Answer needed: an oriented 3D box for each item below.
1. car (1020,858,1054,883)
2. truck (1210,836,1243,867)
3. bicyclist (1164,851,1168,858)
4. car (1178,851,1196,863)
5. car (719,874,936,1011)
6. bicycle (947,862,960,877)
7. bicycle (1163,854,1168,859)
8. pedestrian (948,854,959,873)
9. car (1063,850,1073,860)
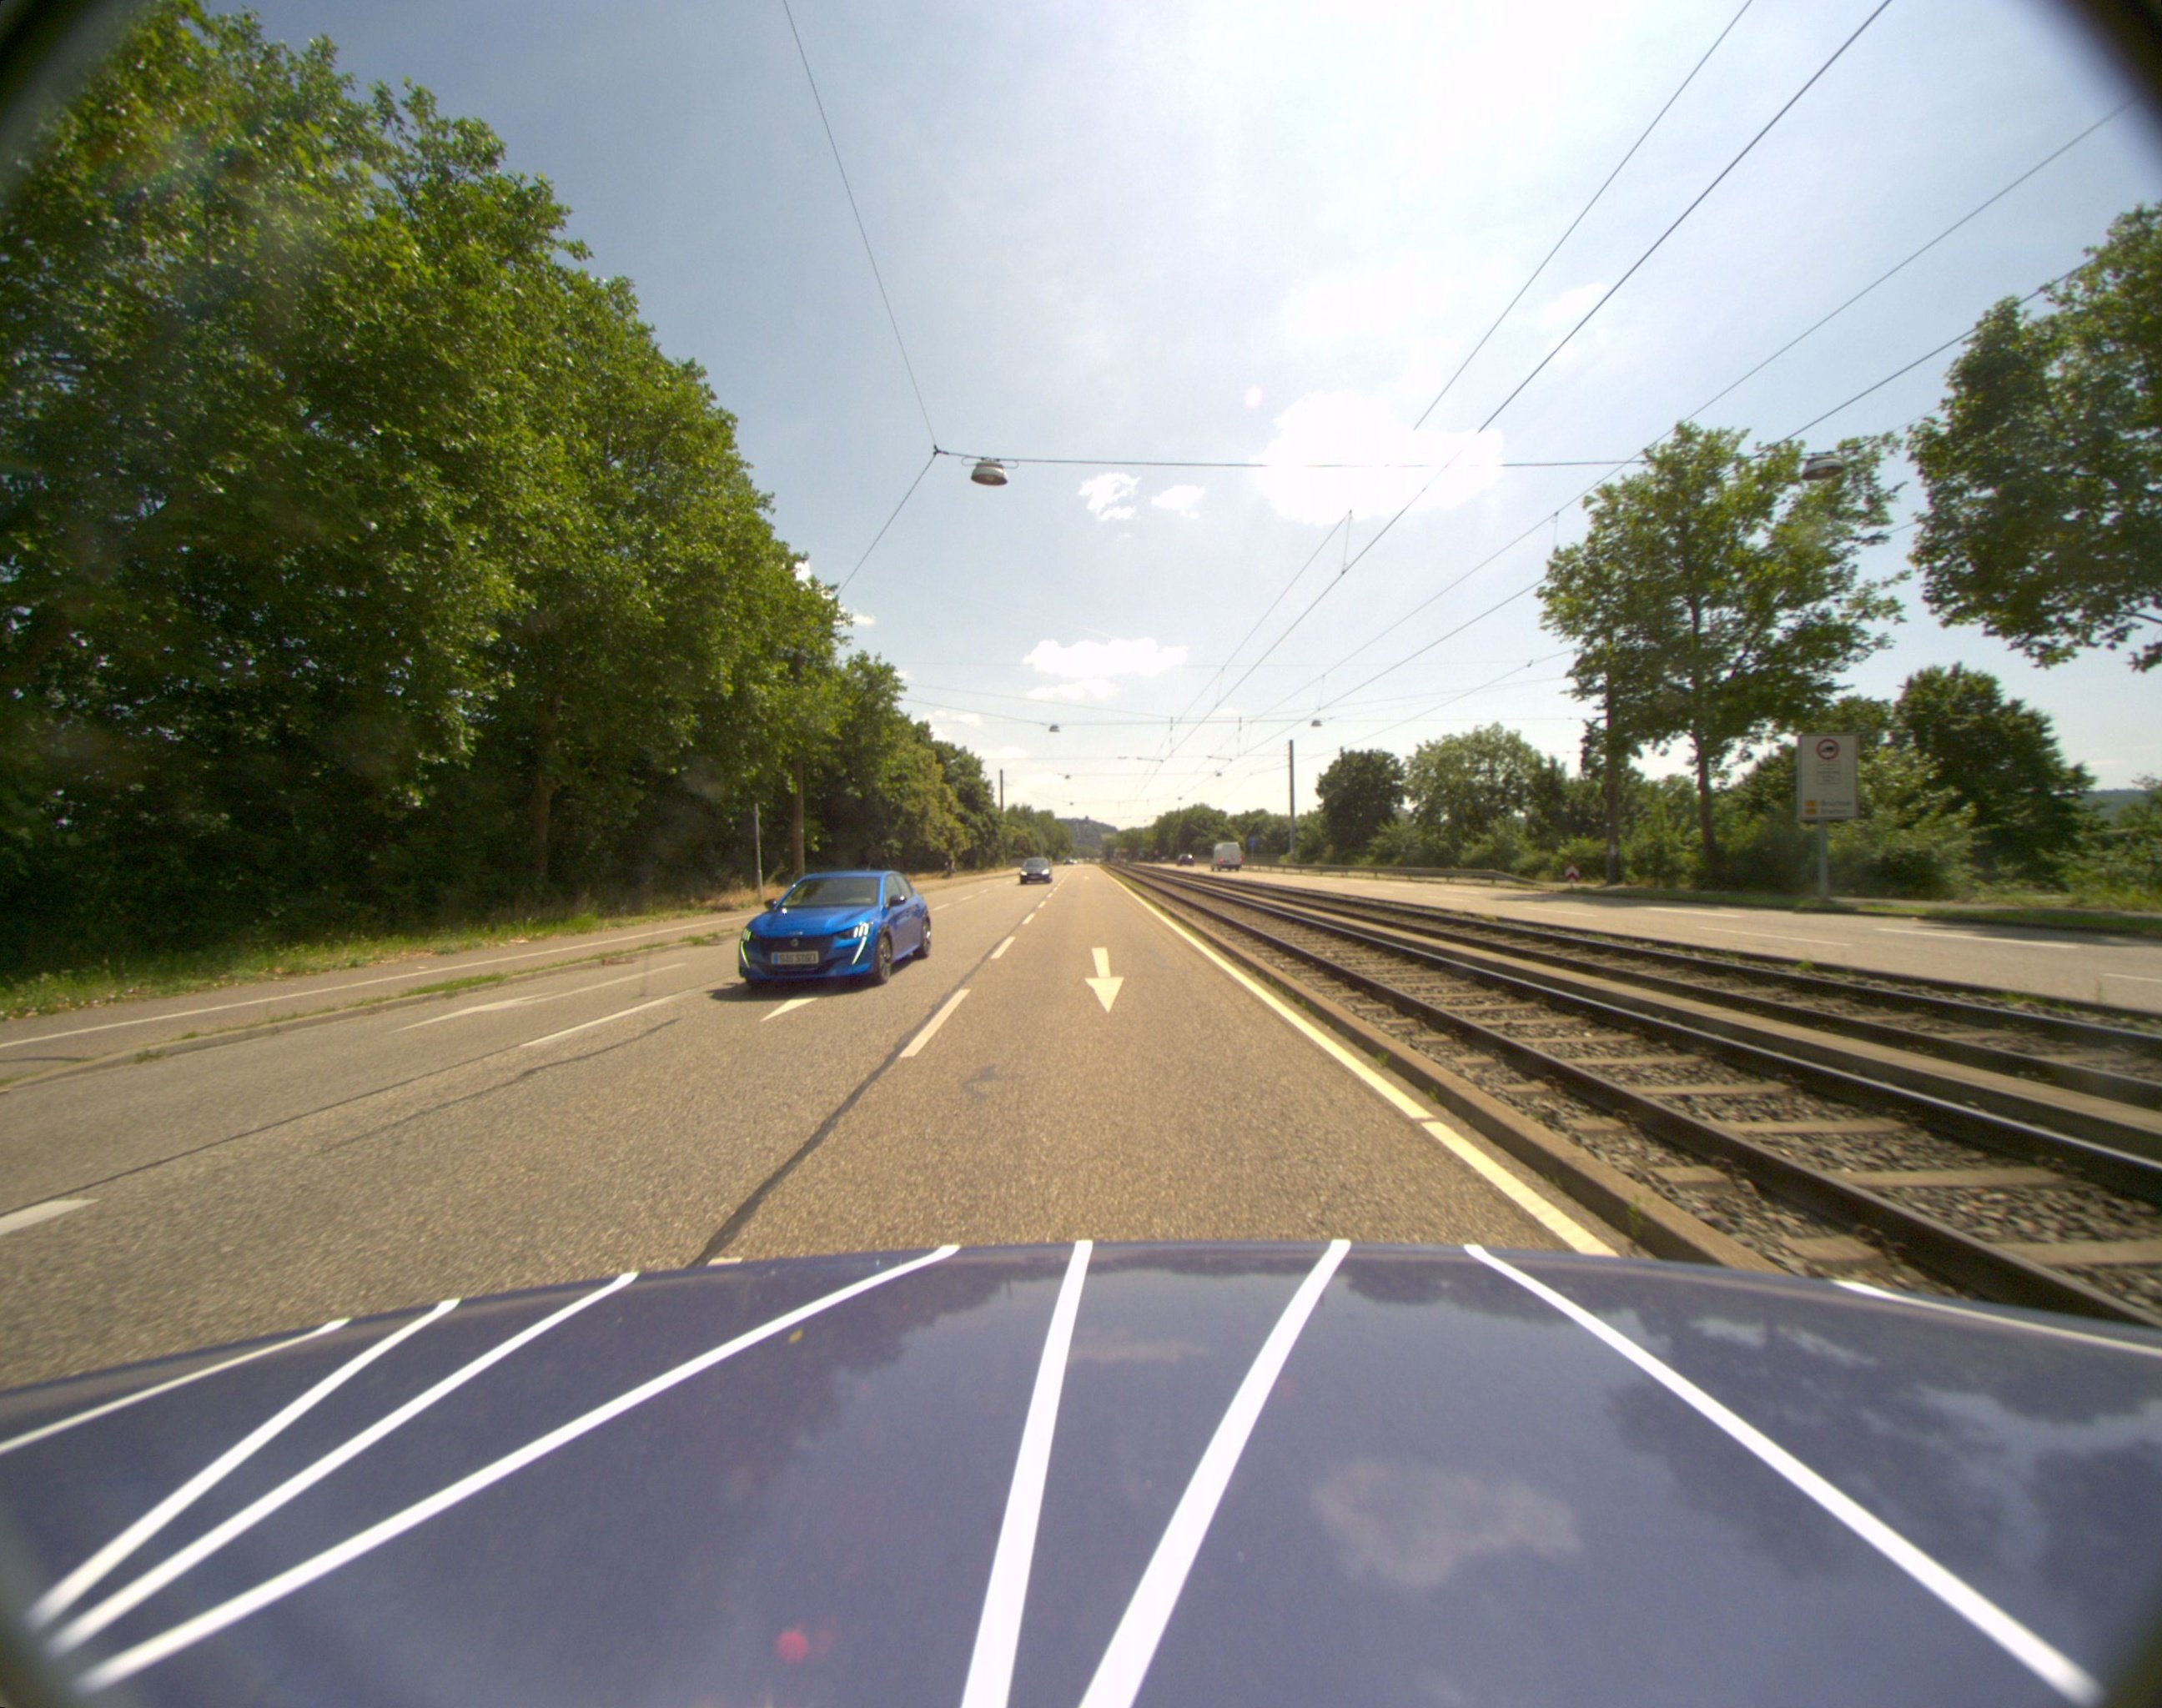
[{"bbox_3d":[-2.588,0.951,45.784,1.769,1.359,3.743,-2,0,0],"label":"car"},{"bbox_3d":[14.289,-0.242,74.830,2.059,2.922,6.319,0,0,1],"label":"truck"},{"bbox_3d":[19.816,0.047,177.936,0.765,1.612,0.838,-2,1,0],"label":"bicyclist"},{"bbox_3d":[14.009,0.370,100.803,1.822,1.505,4.427,0,0,1],"label":"car"},{"bbox_3d":[-3.263,1.071,10.597,1.660,1.397,3.744,-2,0,1],"label":"car"},{"bbox_3d":[-9.527,1.166,56.792,0.561,1.018,1.848,-1,1,1],"label":"bicycle"},{"bbox_3d":[19.824,0.537,177.914,0.859,1.178,2.062,-2,0,0],"label":"bicycle"},{"bbox_3d":[-9.525,0.726,56.838,0.629,1.366,1.050,-1,1,1],"label":"pedestrian"},{"bbox_3d":[-2.498,0.197,146.192,1.999,2.002,3.999,-1,0,-1],"label":"car"}]
